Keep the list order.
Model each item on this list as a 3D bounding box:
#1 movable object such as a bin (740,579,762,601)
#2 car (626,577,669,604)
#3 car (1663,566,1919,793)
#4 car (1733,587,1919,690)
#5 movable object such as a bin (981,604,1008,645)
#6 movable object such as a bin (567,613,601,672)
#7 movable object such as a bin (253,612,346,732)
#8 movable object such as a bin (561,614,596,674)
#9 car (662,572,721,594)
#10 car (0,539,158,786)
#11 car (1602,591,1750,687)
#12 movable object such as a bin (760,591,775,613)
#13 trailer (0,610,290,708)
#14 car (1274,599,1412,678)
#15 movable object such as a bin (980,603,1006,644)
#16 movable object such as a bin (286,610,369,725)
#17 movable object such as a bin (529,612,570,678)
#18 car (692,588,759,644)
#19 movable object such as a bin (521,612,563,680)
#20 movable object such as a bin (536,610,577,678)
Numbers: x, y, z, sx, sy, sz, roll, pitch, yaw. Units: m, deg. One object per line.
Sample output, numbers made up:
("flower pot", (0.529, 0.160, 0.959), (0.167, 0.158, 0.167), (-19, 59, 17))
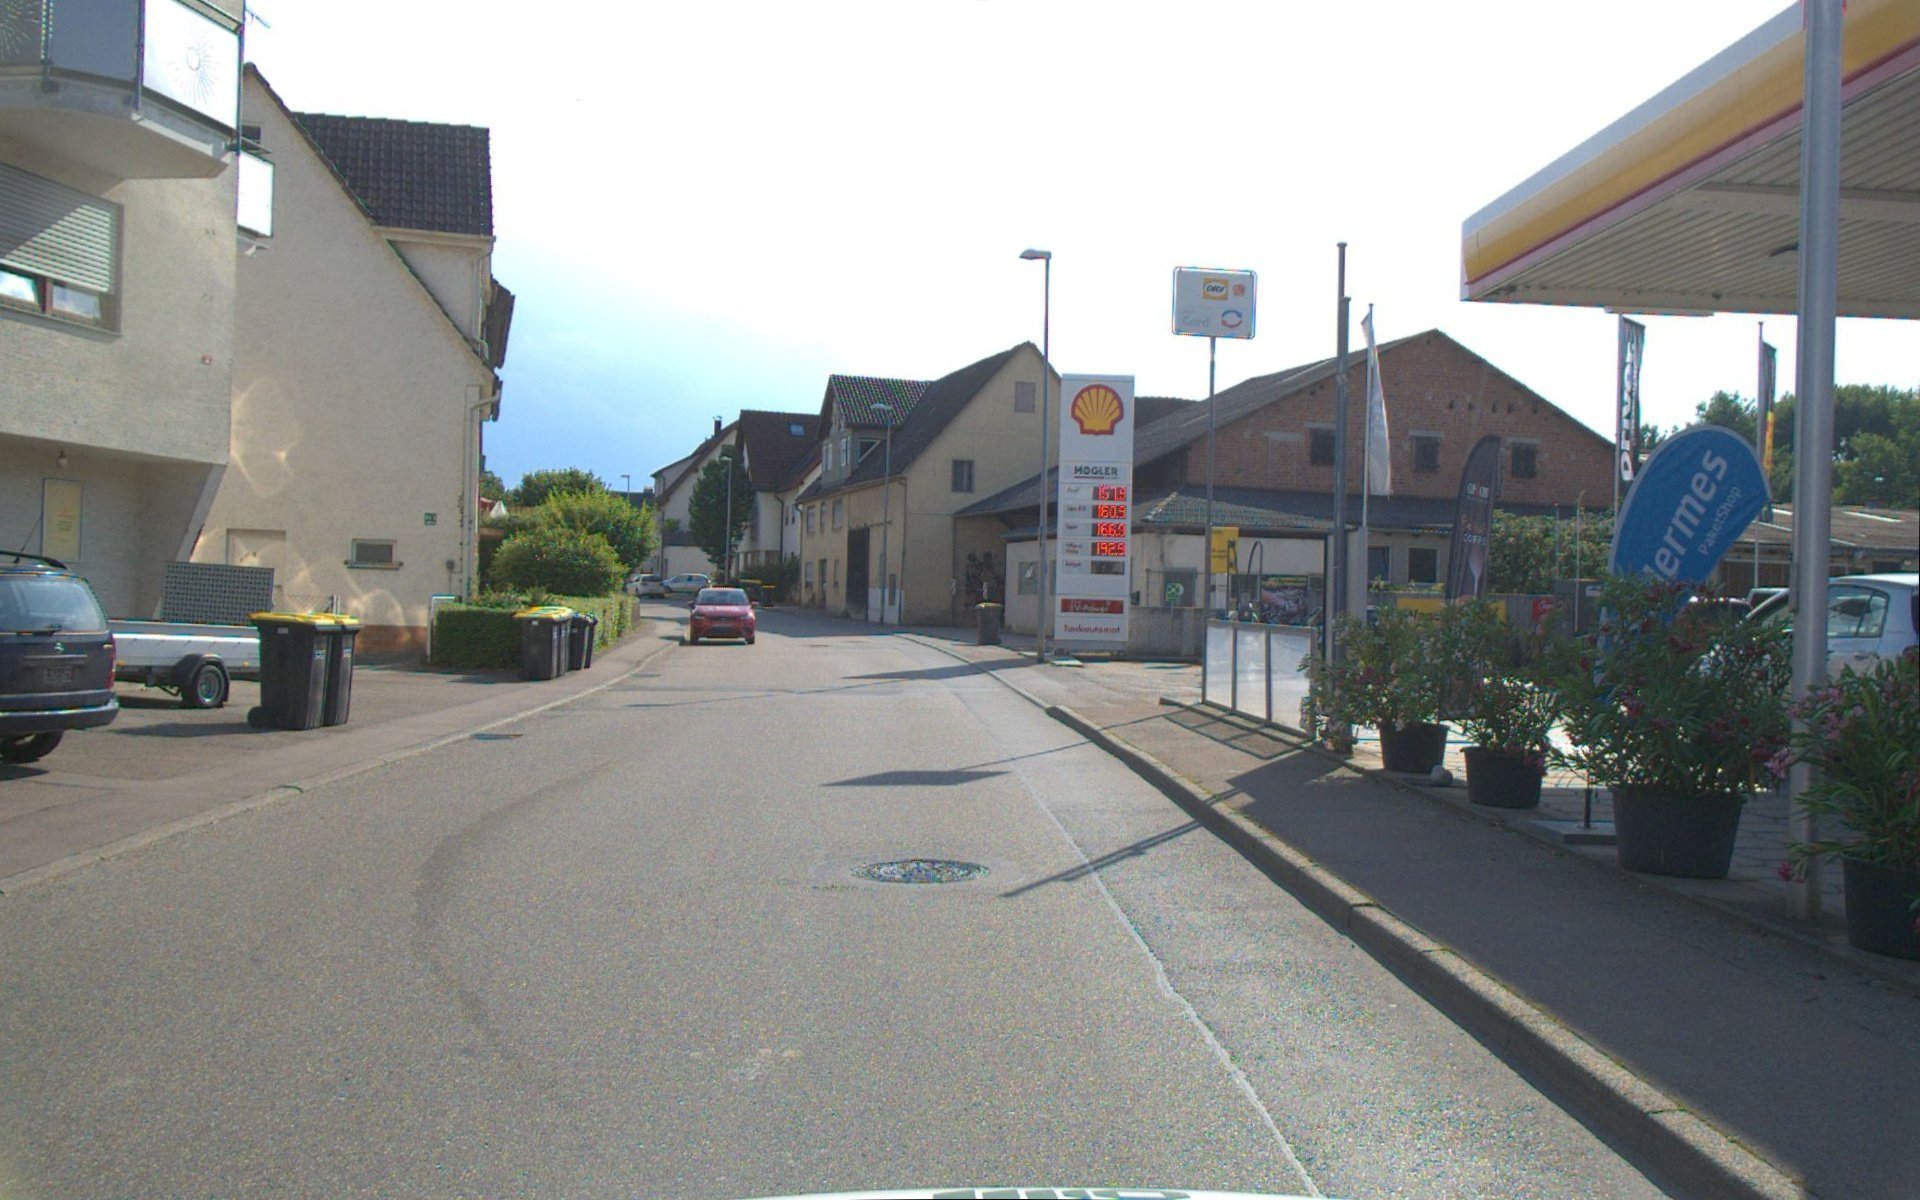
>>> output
("movable object such as a bin", (-11.771, -0.570, 93.077), (1.141, 1.189, 0.652), (1, 0, -14))
("car", (-19.564, -0.631, 103.512), (1.684, 1.606, 3.967), (1, 0, -26))
("car", (7.546, 0.556, 13.671), (1.638, 1.605, 3.997), (1, 0, -2))
("car", (18.053, 0.739, 34.729), (1.545, 1.957, 4.553), (1, 1, 1))
("movable object such as a bin", (0.933, 0.662, 44.630), (0.640, 1.092, 0.512), (1, 0, -5))
("movable object such as a bin", (-6.735, 0.750, 29.650), (0.521, 1.040, 0.457), (0, 0, -3))
("movable object such as a bin", (-6.367, 0.687, 15.974), (0.588, 1.089, 0.618), (4, 0, -3))
("movable object such as a bin", (-6.728, 0.763, 29.158), (0.521, 1.040, 0.457), (0, 0, -3))
("car", (-18.395, -1.172, 113.371), (3.915, 1.376, 1.706), (1, 0, -11))
("car", (-8.105, 0.249, 11.770), (3.904, 1.564, 1.764), (6, 1, 9))
("car", (14.846, 0.764, 34.484), (1.545, 1.823, 3.632), (1, 1, 1))
("movable object such as a bin", (-9.707, 0.112, 83.359), (0.643, 1.092, 0.510), (1, 0, -18))
("trailer", (-8.628, 0.641, 17.546), (1.302, 0.870, 2.893), (3, -2, 15))
("car", (7.833, 0.746, 34.215), (1.547, 1.452, 4.378), (2, 0, -4))
("movable object such as a bin", (0.890, 0.637, 45.226), (0.640, 1.092, 0.512), (1, 0, -5))
("movable object such as a bin", (-6.342, 0.669, 16.602), (0.558, 1.089, 0.557), (4, 0, -3))
("movable object such as a bin", (-6.932, 0.750, 27.943), (0.576, 1.103, 0.529), (0, 0, -3))
("car", (-6.366, 0.416, 44.633), (1.678, 1.460, 3.771), (0, 0, -10))
("movable object such as a bin", (-6.903, 0.759, 27.315), (0.576, 1.103, 0.508), (0, 0, -3))
("movable object such as a bin", (-6.960, 0.755, 28.560), (0.576, 1.141, 0.617), (0, 0, -3))
